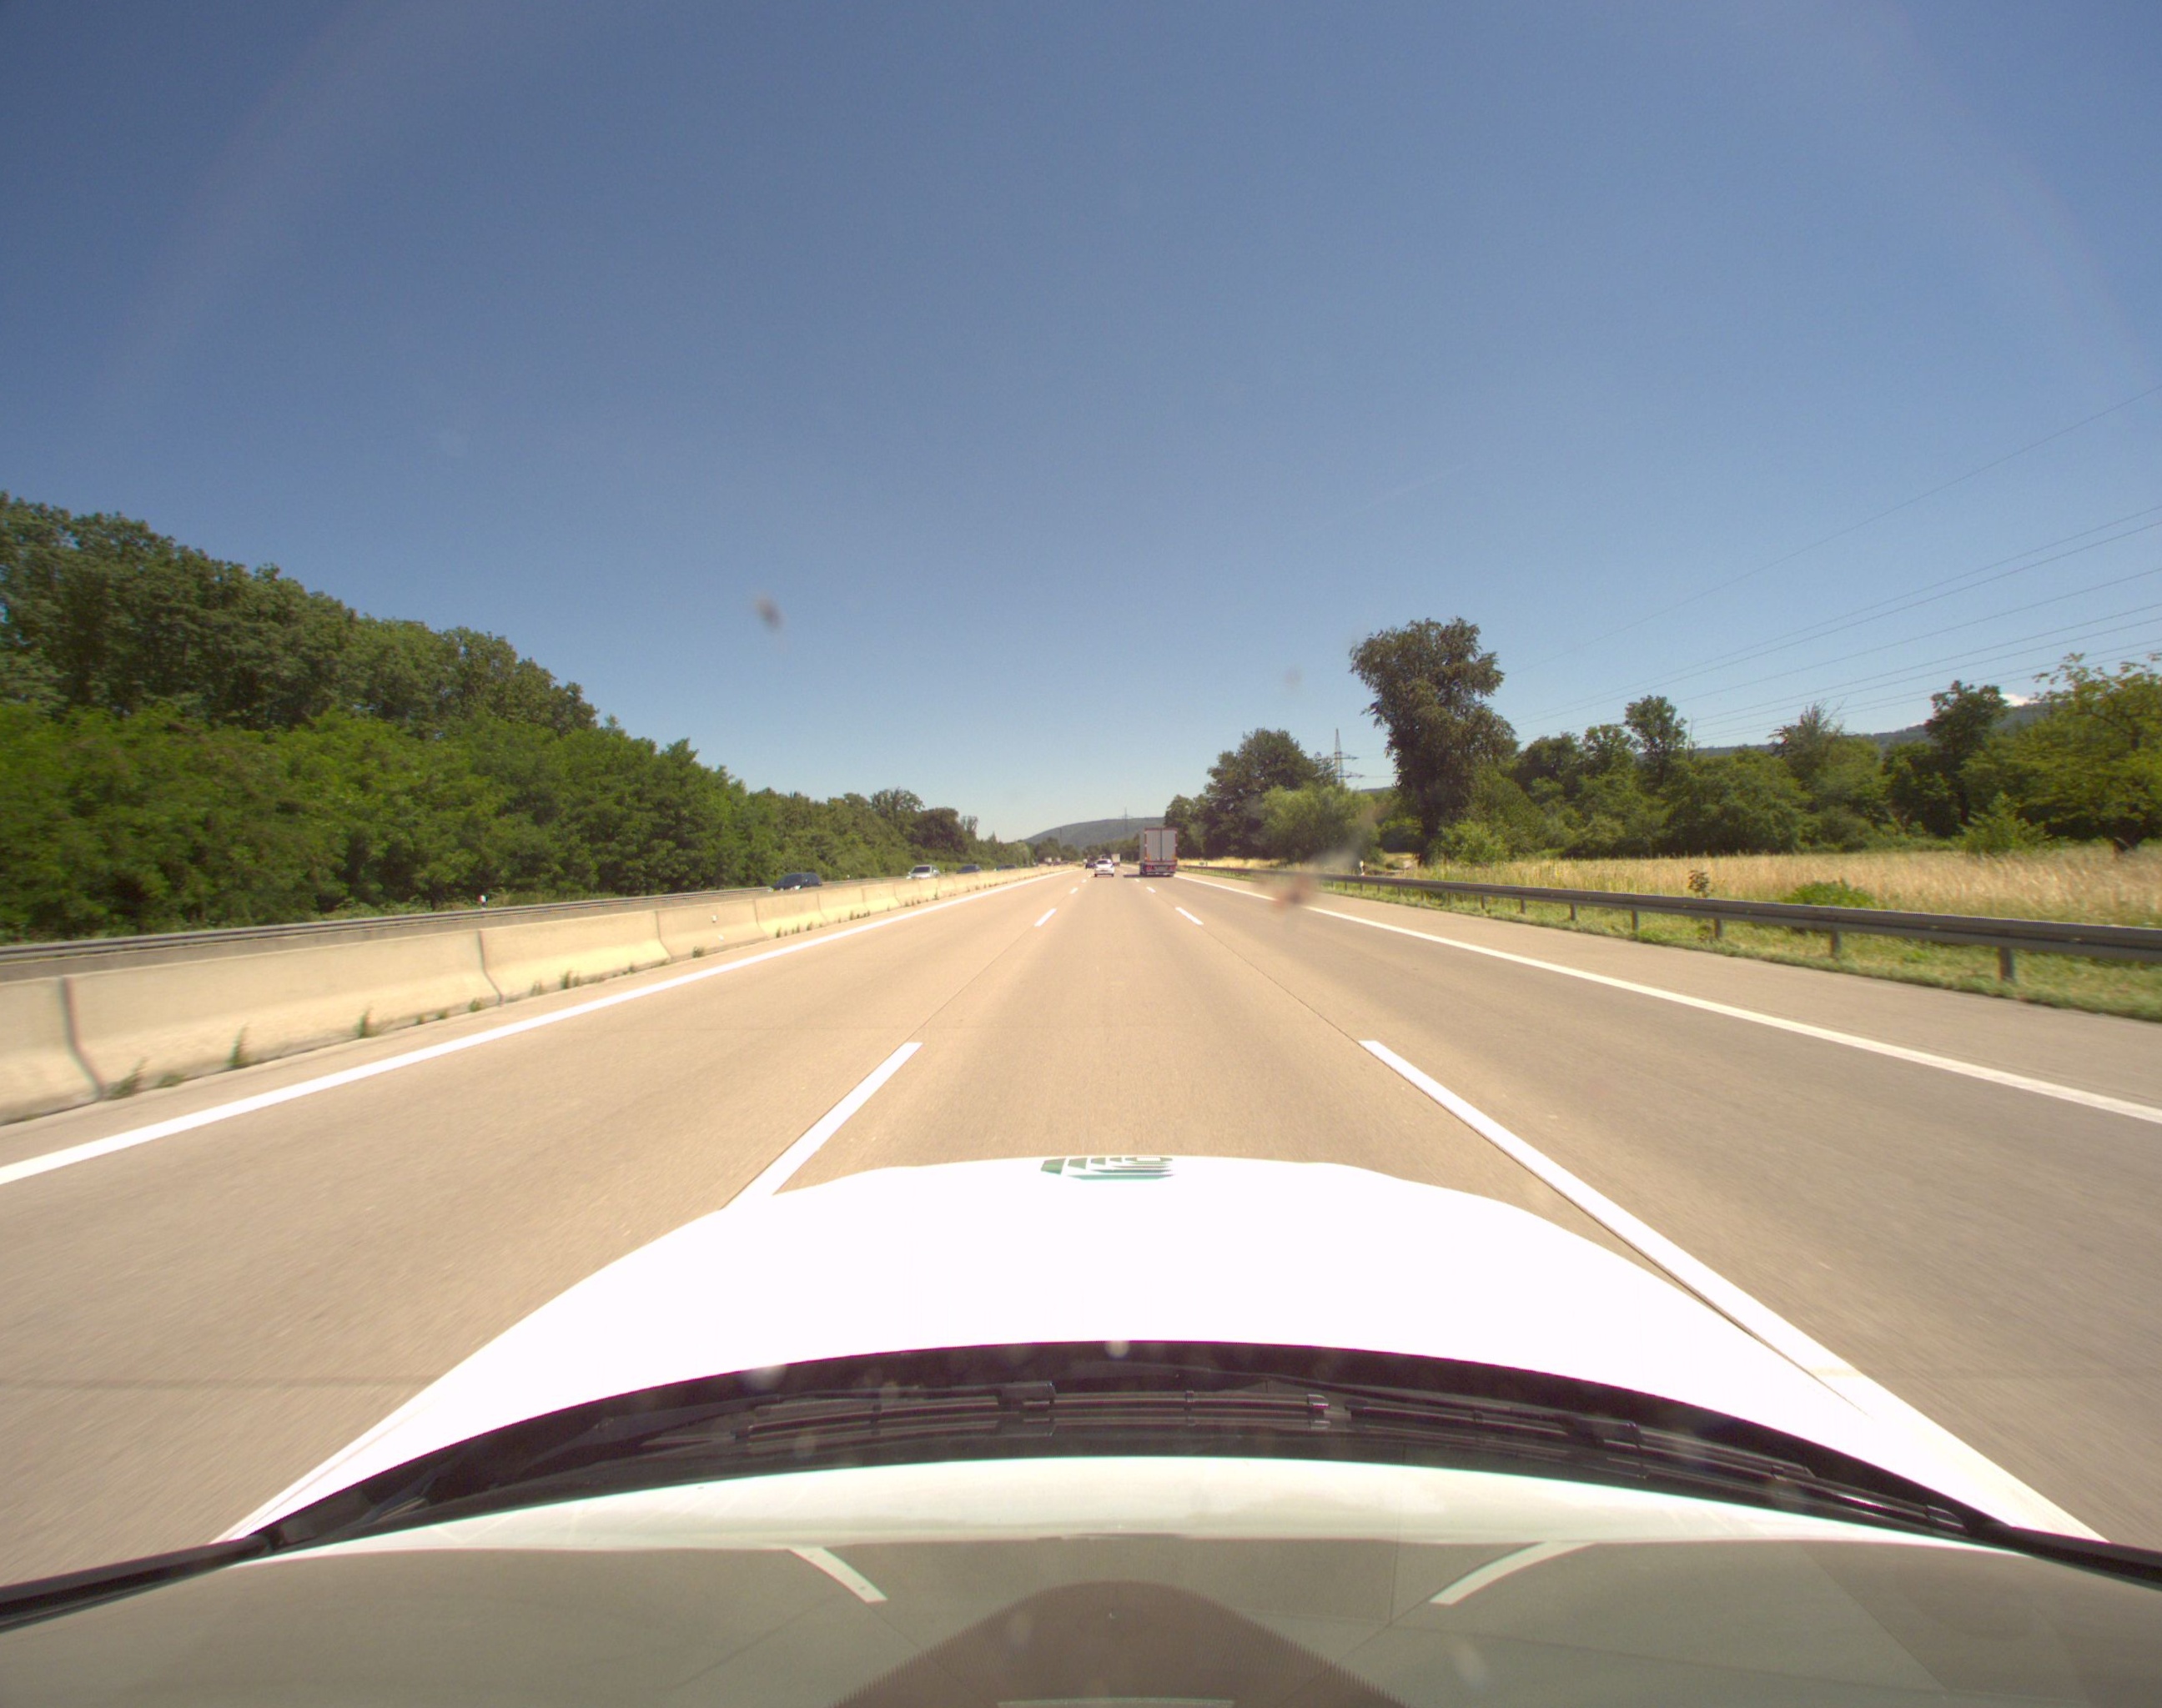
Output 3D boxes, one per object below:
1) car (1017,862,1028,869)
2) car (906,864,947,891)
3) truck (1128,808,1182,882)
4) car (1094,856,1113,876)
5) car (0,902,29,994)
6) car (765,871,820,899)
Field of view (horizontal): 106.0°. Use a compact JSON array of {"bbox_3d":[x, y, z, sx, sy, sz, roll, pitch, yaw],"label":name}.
[{"bbox_3d":[-12.058,2.383,168.232,1.671,1.315,4.860,-1,0,0],"label":"car"},{"bbox_3d":[-10.654,1.600,56.633,1.703,1.678,4.930,-3,0,2],"label":"car"},{"bbox_3d":[6.350,-0.687,73.328,3.564,5.787,18.252,-1,0,2],"label":"truck"},{"bbox_3d":[1.981,1.007,70.546,1.635,1.662,3.361,0,0,2],"label":"car"},{"bbox_3d":[-16.605,1.401,10.015,1.559,1.319,4.373,-2,0,1],"label":"car"},{"bbox_3d":[-15.470,1.635,43.799,1.560,1.319,3.633,-2,0,1],"label":"car"}]
